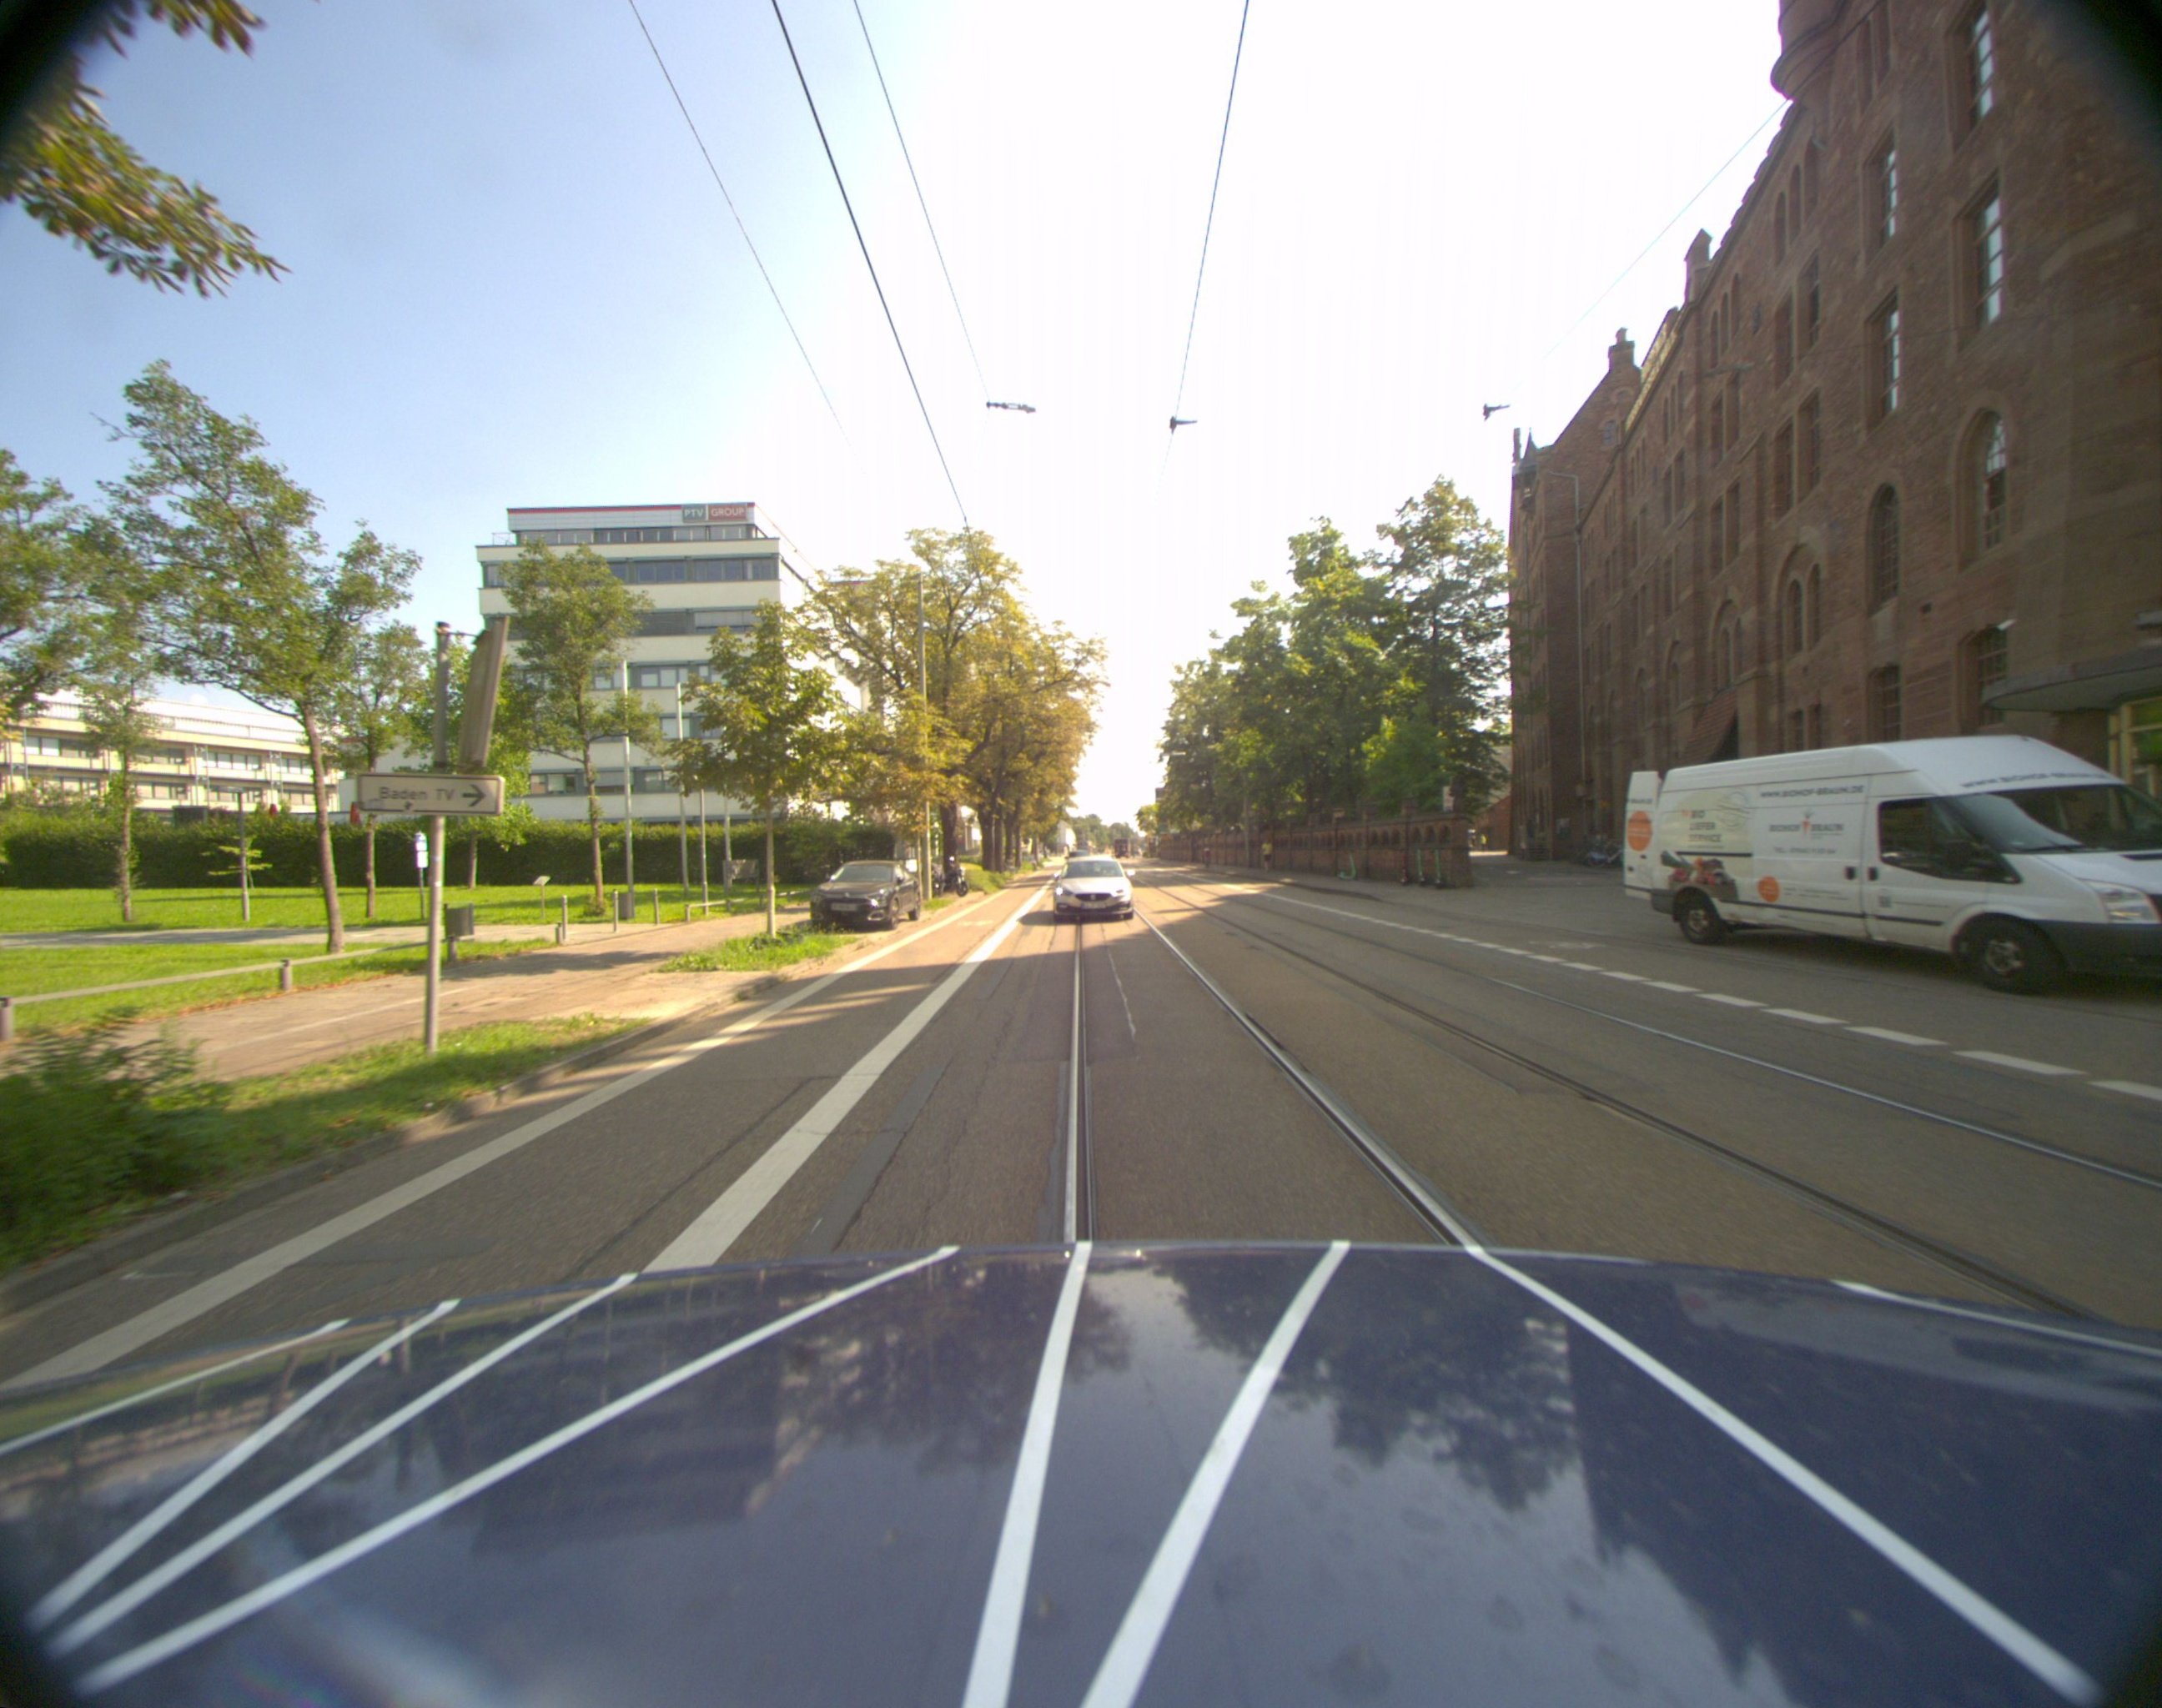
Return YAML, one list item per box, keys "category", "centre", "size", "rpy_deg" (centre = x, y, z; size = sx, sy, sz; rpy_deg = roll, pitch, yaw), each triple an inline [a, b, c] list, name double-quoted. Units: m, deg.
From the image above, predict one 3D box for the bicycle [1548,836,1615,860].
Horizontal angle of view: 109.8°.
- category: "bicycle"
  centre: [24.753, -0.308, 37.631]
  size: [2.681, 1.090, 0.902]
  rpy_deg: [-2, 1, 29]

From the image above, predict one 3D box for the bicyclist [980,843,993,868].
- category: "bicyclist"
  centre: [-7.589, 0.103, 60.950]
  size: [0.783, 2.002, 1.274]
  rpy_deg: [-2, 1, -1]

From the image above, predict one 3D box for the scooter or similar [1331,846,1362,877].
- category: "scooter or similar"
  centre: [10.112, 0.276, 28.936]
  size: [0.422, 1.172, 1.315]
  rpy_deg: [-3, 1, -15]

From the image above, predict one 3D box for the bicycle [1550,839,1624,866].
- category: "bicycle"
  centre: [22.583, -0.064, 34.013]
  size: [2.681, 1.090, 0.902]
  rpy_deg: [-2, 1, 29]

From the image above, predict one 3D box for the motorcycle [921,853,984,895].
- category: "motorcycle"
  centre: [-4.887, 0.758, 28.780]
  size: [2.448, 1.507, 0.854]
  rpy_deg: [-1, 1, 38]

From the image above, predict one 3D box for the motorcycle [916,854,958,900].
- category: "motorcycle"
  centre: [-5.157, 0.790, 27.081]
  size: [0.854, 1.507, 2.450]
  rpy_deg: [-3, 1, -24]

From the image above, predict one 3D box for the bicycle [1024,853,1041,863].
- category: "bicycle"
  centre: [-5.154, 0.406, 81.414]
  size: [1.776, 1.065, 0.540]
  rpy_deg: [-1, 1, -1]

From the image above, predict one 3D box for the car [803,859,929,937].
- category: "car"
  centre: [-4.934, 0.932, 18.118]
  size: [1.760, 1.507, 4.608]
  rpy_deg: [-1, 1, -1]

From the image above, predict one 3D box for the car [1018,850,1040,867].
- category: "car"
  centre: [-4.763, 0.353, 69.974]
  size: [1.760, 1.453, 4.274]
  rpy_deg: [-1, 1, 0]

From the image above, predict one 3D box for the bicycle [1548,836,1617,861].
- category: "bicycle"
  centre: [24.176, -0.274, 36.703]
  size: [2.681, 1.090, 0.902]
  rpy_deg: [-2, 1, 29]

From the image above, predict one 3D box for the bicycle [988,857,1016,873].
- category: "bicycle"
  centre: [-5.112, 0.710, 49.253]
  size: [1.776, 1.044, 0.540]
  rpy_deg: [-1, 1, -1]

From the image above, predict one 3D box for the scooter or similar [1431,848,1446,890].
- category: "scooter or similar"
  centre: [10.508, 0.436, 22.330]
  size: [0.340, 1.172, 1.180]
  rpy_deg: [-2, 1, 25]

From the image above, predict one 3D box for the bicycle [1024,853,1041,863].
- category: "bicycle"
  centre: [-5.143, 0.405, 81.436]
  size: [1.776, 1.065, 0.540]
  rpy_deg: [-1, 1, -1]

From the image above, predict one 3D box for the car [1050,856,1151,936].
- category: "car"
  centre: [0.375, 0.829, 17.287]
  size: [1.928, 1.465, 4.816]
  rpy_deg: [-2, 0, 0]

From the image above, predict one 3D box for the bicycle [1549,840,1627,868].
- category: "bicycle"
  centre: [21.462, -0.010, 32.223]
  size: [2.681, 1.090, 0.902]
  rpy_deg: [-2, 1, 29]

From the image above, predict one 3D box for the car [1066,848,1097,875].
- category: "car"
  centre: [0.009, 0.455, 47.853]
  size: [1.834, 1.543, 4.032]
  rpy_deg: [-2, 1, 0]

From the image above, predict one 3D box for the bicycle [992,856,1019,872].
- category: "bicycle"
  centre: [-5.127, 0.679, 51.732]
  size: [1.776, 1.044, 0.540]
  rpy_deg: [-1, 1, -1]

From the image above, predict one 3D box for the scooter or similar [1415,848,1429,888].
- category: "scooter or similar"
  centre: [10.526, 0.421, 23.464]
  size: [0.340, 1.172, 1.180]
  rpy_deg: [-2, 1, 25]

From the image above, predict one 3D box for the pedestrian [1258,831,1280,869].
- category: "pedestrian"
  centre: [10.112, -0.215, 40.915]
  size: [0.866, 2.002, 0.983]
  rpy_deg: [-2, 1, -2]

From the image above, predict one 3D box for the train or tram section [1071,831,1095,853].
- category: "train or tram section"
  centre: [0.521, -2.365, 151.062]
  size: [4.111, 3.711, 24.376]
  rpy_deg: [-2, 1, 1]

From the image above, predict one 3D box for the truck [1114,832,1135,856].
- category: "truck"
  centre: [8.748, -2.083, 151.506]
  size: [3.171, 4.427, 16.845]
  rpy_deg: [-2, 1, 6]

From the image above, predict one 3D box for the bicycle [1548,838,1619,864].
- category: "bicycle"
  centre: [23.318, -0.134, 35.315]
  size: [2.681, 1.090, 0.902]
  rpy_deg: [-2, 1, 29]

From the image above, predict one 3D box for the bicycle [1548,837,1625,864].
- category: "bicycle"
  centre: [21.952, -0.144, 33.075]
  size: [2.681, 1.090, 0.902]
  rpy_deg: [-2, 1, 29]

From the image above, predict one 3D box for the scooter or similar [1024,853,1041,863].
- category: "scooter or similar"
  centre: [-5.056, 0.431, 79.203]
  size: [1.776, 1.065, 0.540]
  rpy_deg: [-1, 1, -1]

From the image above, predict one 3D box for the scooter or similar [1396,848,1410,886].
- category: "scooter or similar"
  centre: [10.439, 0.409, 24.636]
  size: [0.340, 1.172, 1.180]
  rpy_deg: [-2, 1, 25]

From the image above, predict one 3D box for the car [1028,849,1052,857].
- category: "car"
  centre: [-7.880, -0.196, 146.850]
  size: [4.552, 1.506, 1.960]
  rpy_deg: [-2, 1, -5]

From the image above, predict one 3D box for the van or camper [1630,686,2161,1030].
- category: "van or camper"
  centre: [9.495, -0.041, 8.763]
  size: [2.118, 2.660, 5.954]
  rpy_deg: [-2, 1, 2]
